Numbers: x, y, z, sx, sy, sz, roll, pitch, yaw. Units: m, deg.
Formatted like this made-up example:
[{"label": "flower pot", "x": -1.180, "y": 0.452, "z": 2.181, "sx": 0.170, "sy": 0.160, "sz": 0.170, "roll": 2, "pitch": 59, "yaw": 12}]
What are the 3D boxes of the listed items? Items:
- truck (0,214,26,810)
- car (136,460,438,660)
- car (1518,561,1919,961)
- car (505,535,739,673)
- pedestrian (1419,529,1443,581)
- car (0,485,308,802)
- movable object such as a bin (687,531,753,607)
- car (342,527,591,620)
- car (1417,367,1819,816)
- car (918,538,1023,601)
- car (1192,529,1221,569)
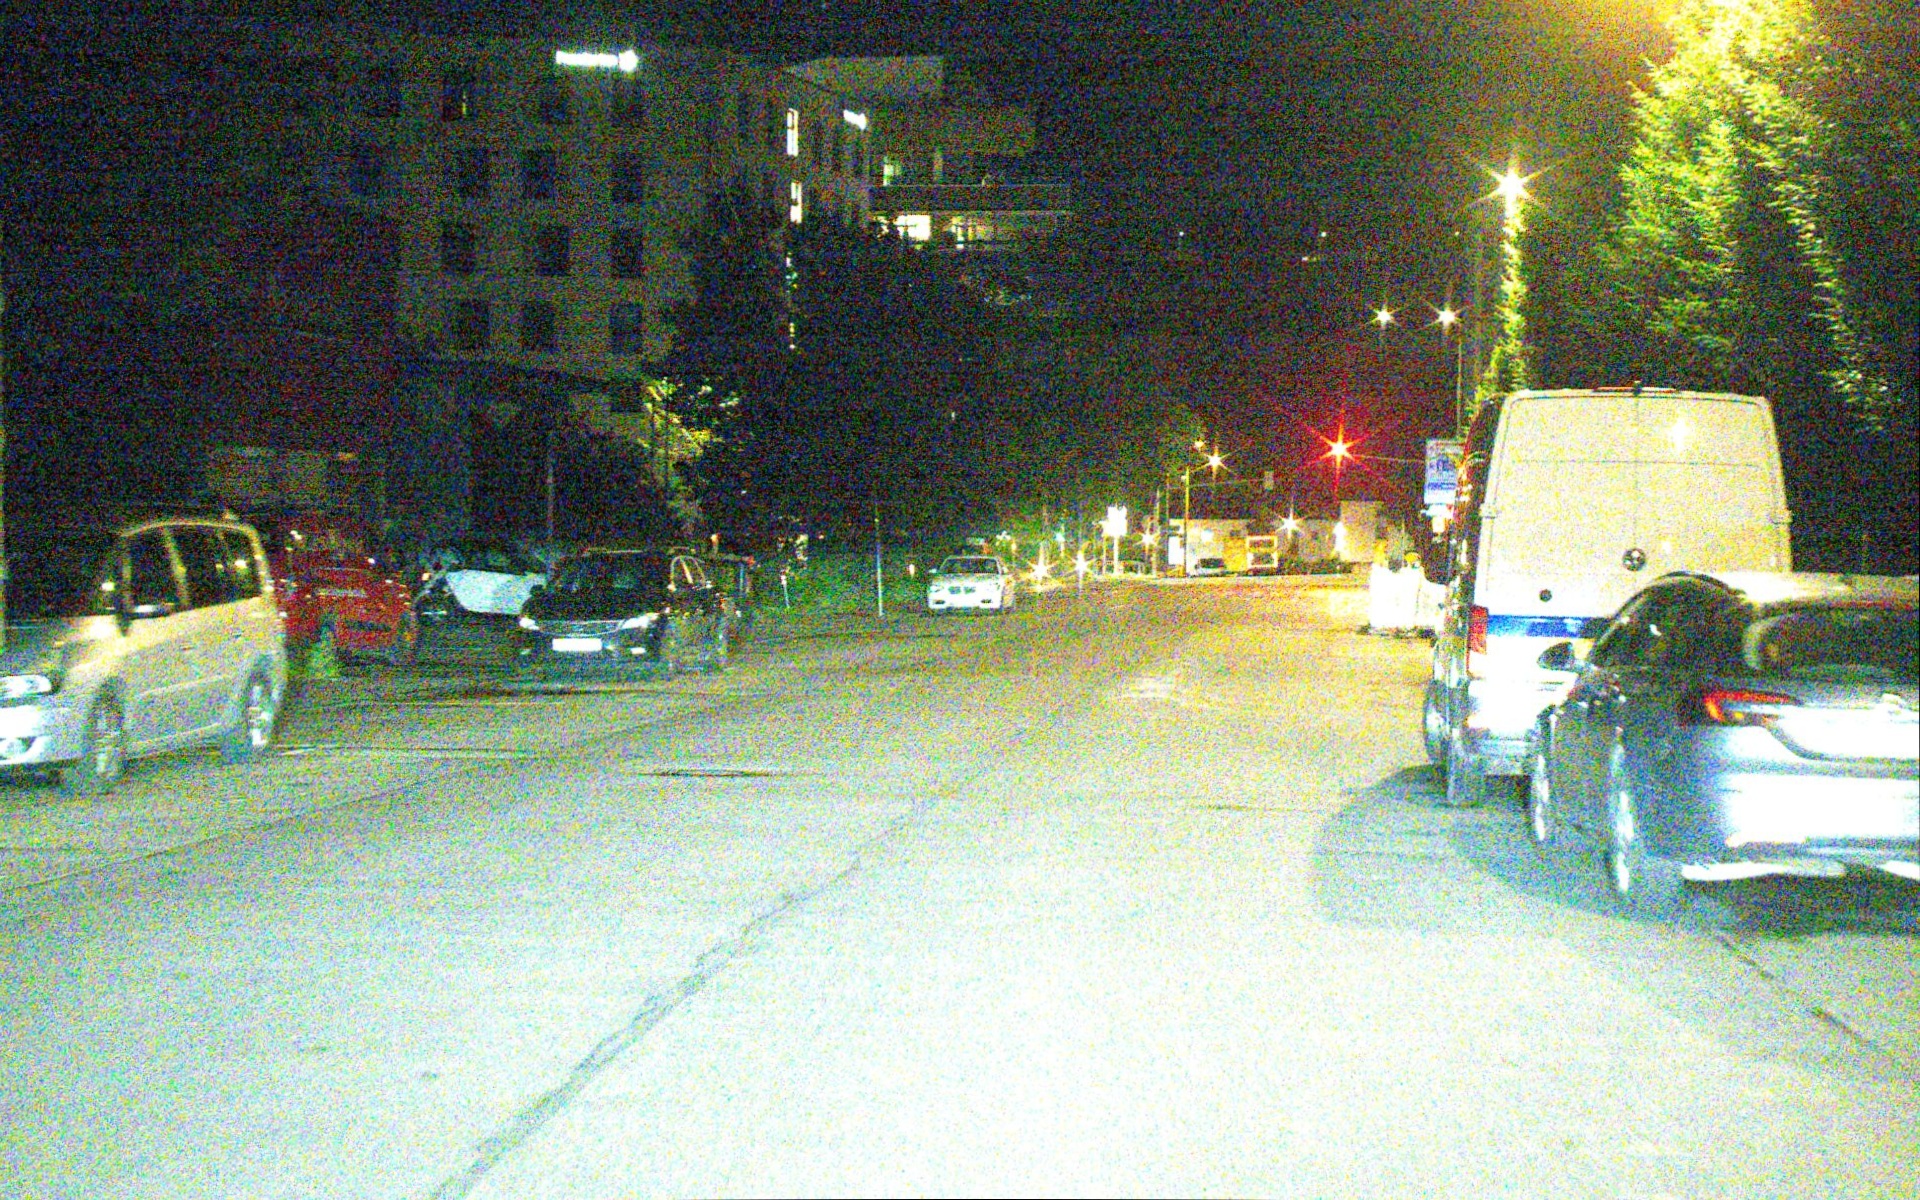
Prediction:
[{"label": "truck", "x": -6.765, "y": -0.423, "z": 15.693, "sx": 2.544, "sy": 3.269, "sz": 7.311, "roll": 0, "pitch": 1, "yaw": 4}, {"label": "car", "x": -8.375, "y": -0.520, "z": 43.299, "sx": 1.994, "sy": 2.313, "sz": 4.964, "roll": -2, "pitch": 1, "yaw": 10}, {"label": "car", "x": 3.662, "y": 0.591, "z": 15.492, "sx": 1.711, "sy": 1.503, "sz": 4.640, "roll": 0, "pitch": 1, "yaw": 2}, {"label": "car", "x": -3.904, "y": 0.026, "z": 40.418, "sx": 1.756, "sy": 1.521, "sz": 4.321, "roll": 1, "pitch": 1, "yaw": 8}, {"label": "pedestrian", "x": 17.928, "y": -1.710, "z": 130.903, "sx": 0.737, "sy": 1.975, "sz": 0.626, "roll": 0, "pitch": 1, "yaw": -10}, {"label": "car", "x": -5.779, "y": 0.213, "z": 22.148, "sx": 1.829, "sy": 1.810, "sz": 4.838, "roll": -1, "pitch": 1, "yaw": 5}, {"label": "movable object such as a bin", "x": -4.741, "y": -0.620, "z": 67.942, "sx": 1.164, "sy": 1.490, "sz": 1.065, "roll": 0, "pitch": 1, "yaw": 4}, {"label": "car", "x": -8.684, "y": -0.476, "z": 60.655, "sx": 3.988, "sy": 1.565, "sz": 1.817, "roll": -1, "pitch": 1, "yaw": 7}, {"label": "car", "x": 4.138, "y": -0.111, "z": 22.576, "sx": 2.021, "sy": 2.518, "sz": 6.050, "roll": 1, "pitch": 1, "yaw": 6}, {"label": "car", "x": 0.266, "y": -0.718, "z": 79.971, "sx": 1.912, "sy": 1.399, "sz": 4.337, "roll": 0, "pitch": 1, "yaw": 7}, {"label": "car", "x": 18.677, "y": -3.877, "z": 260.983, "sx": 1.993, "sy": 2.963, "sz": 4.000, "roll": 0, "pitch": 1, "yaw": 1}]
